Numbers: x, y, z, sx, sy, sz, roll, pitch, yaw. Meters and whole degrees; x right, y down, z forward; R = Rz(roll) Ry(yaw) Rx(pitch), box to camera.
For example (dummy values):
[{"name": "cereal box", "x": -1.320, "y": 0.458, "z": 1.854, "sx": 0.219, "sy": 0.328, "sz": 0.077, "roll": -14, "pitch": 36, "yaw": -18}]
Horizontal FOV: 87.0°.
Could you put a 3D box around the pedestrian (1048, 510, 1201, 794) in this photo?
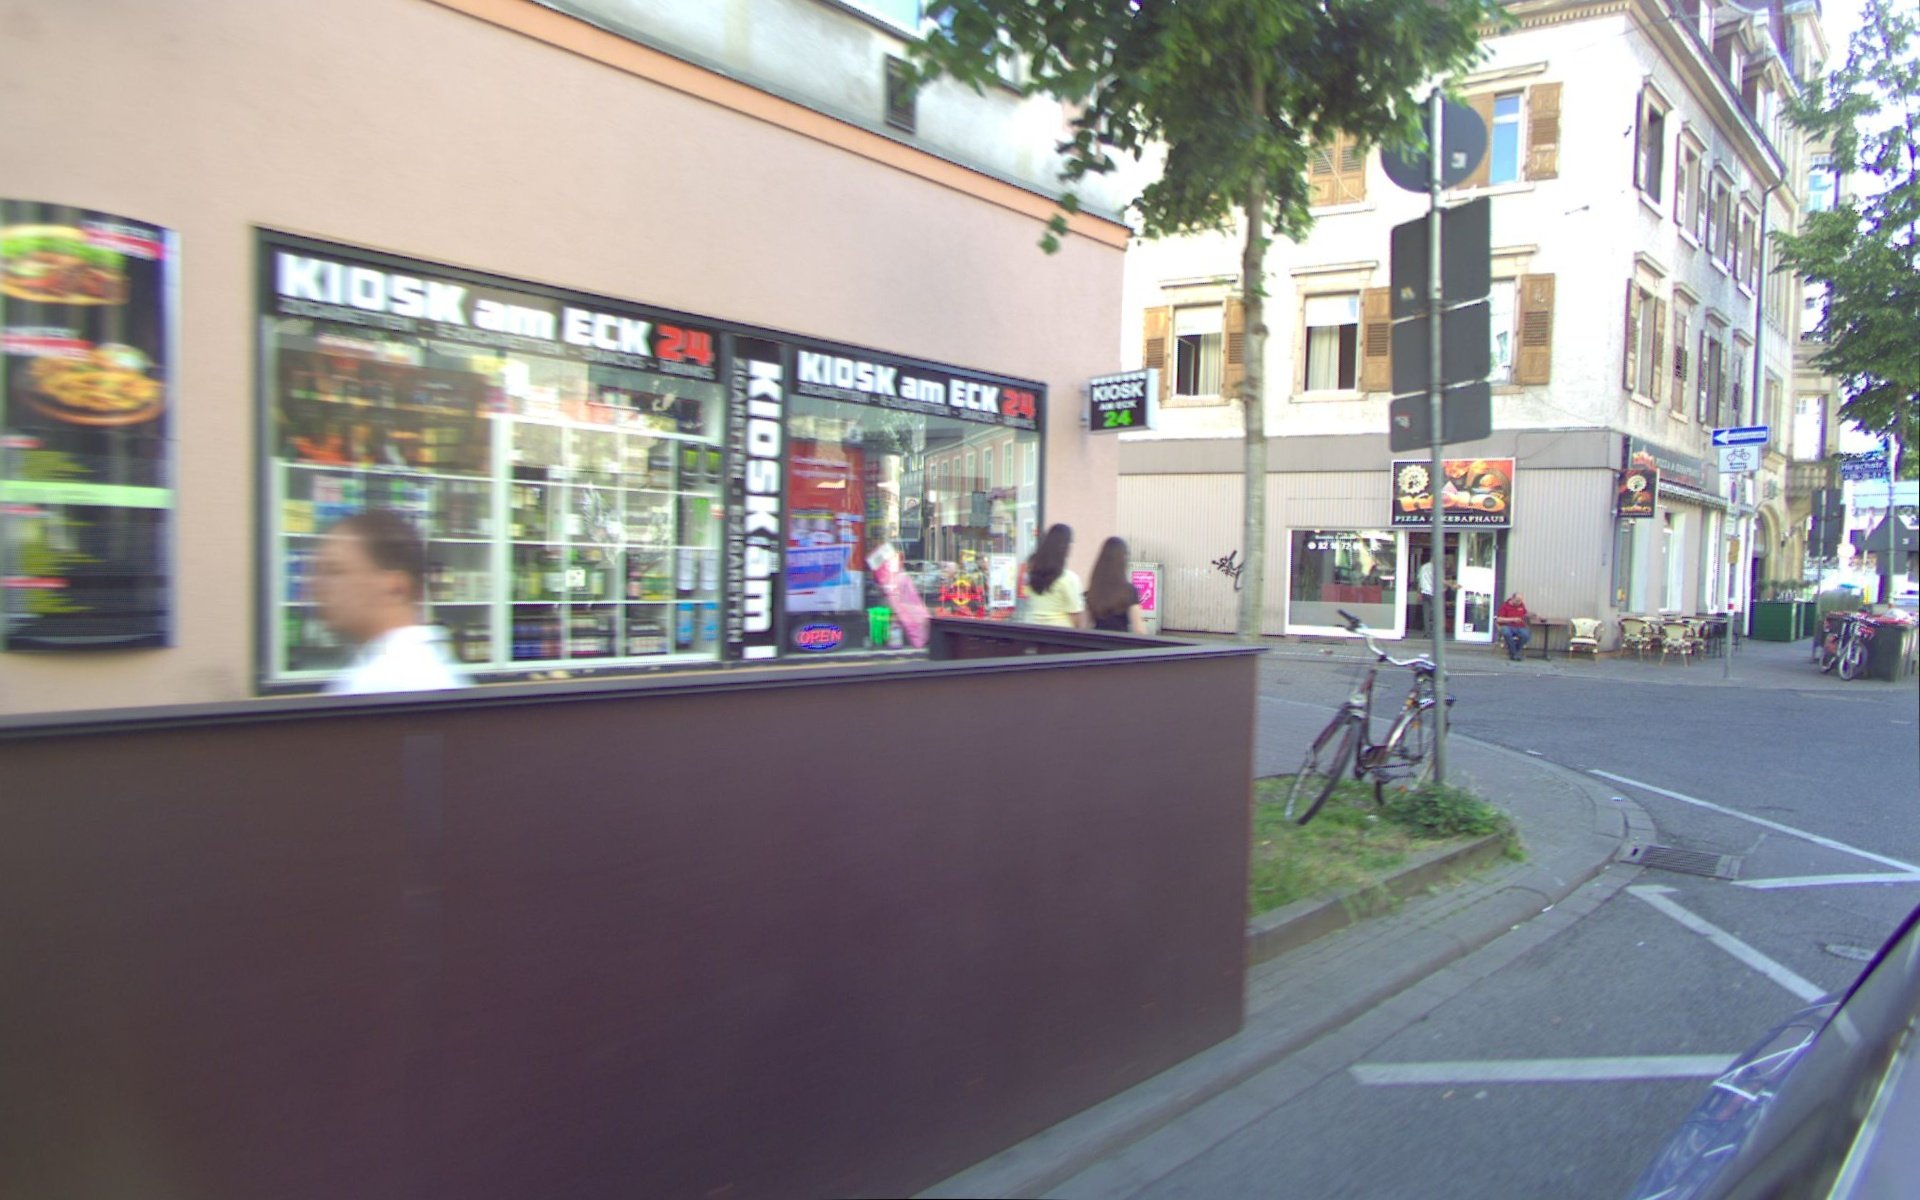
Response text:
[{"name": "pedestrian", "x": 1.040, "y": 0.295, "z": 6.386, "sx": 0.736, "sy": 1.664, "sz": 0.514, "roll": 0, "pitch": 4, "yaw": -42}]

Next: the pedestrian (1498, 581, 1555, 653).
[{"name": "pedestrian", "x": 10.604, "y": 0.313, "z": 18.963, "sx": 0.701, "sy": 1.273, "sz": 0.589, "roll": 2, "pitch": 4, "yaw": 10}]

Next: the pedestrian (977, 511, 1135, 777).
[{"name": "pedestrian", "x": 0.646, "y": 0.258, "z": 6.833, "sx": 0.736, "sy": 1.664, "sz": 0.643, "roll": 0, "pitch": 4, "yaw": -42}]

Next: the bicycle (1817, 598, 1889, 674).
[{"name": "bicycle", "x": 15.480, "y": 0.603, "z": 17.573, "sx": 0.374, "sy": 1.159, "sz": 1.660, "roll": 4, "pitch": 4, "yaw": 24}]

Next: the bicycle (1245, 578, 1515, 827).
[{"name": "bicycle", "x": 2.455, "y": 0.485, "z": 5.756, "sx": 2.108, "sy": 1.177, "sz": 0.508, "roll": 0, "pitch": 3, "yaw": -42}]

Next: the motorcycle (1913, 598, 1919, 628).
[{"name": "motorcycle", "x": 36.423, "y": 0.546, "z": 36.624, "sx": 2.638, "sy": 1.090, "sz": 0.951, "roll": 4, "pitch": 3, "yaw": 35}]

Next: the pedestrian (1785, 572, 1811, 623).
[{"name": "pedestrian", "x": 24.816, "y": -0.078, "z": 29.962, "sx": 0.512, "sy": 1.460, "sz": 0.460, "roll": 0, "pitch": 2, "yaw": -42}]

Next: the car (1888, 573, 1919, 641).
[{"name": "car", "x": 26.135, "y": 0.219, "z": 26.736, "sx": 4.086, "sy": 1.670, "sz": 1.835, "roll": 0, "pitch": 5, "yaw": -41}]

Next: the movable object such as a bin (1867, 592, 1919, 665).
[{"name": "movable object such as a bin", "x": 17.269, "y": 0.514, "z": 18.440, "sx": 0.686, "sy": 1.228, "sz": 0.944, "roll": -1, "pitch": 5, "yaw": -40}]

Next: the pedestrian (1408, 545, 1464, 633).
[{"name": "pedestrian", "x": 9.672, "y": -0.245, "z": 20.588, "sx": 0.787, "sy": 1.716, "sz": 0.706, "roll": 2, "pitch": 4, "yaw": 10}]

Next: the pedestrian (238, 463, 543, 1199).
[{"name": "pedestrian", "x": -1.153, "y": 0.533, "z": 2.034, "sx": 0.454, "sy": 1.548, "sz": 0.474, "roll": 0, "pitch": 2, "yaw": -40}]

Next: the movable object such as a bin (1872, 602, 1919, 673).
[{"name": "movable object such as a bin", "x": 16.477, "y": 0.649, "z": 17.650, "sx": 0.591, "sy": 1.170, "sz": 0.722, "roll": 0, "pitch": 3, "yaw": -38}]

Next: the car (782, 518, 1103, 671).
[{"name": "car", "x": -0.265, "y": -0.153, "z": 15.364, "sx": 4.444, "sy": 1.941, "sz": 1.927, "roll": 3, "pitch": 2, "yaw": 23}]

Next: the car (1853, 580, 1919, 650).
[{"name": "car", "x": 22.264, "y": 0.344, "z": 23.420, "sx": 4.087, "sy": 1.435, "sz": 1.834, "roll": 0, "pitch": 5, "yaw": -42}]

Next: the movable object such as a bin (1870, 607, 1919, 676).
[{"name": "movable object such as a bin", "x": 15.985, "y": 0.692, "z": 17.190, "sx": 0.591, "sy": 1.080, "sz": 0.635, "roll": -2, "pitch": 5, "yaw": -39}]
